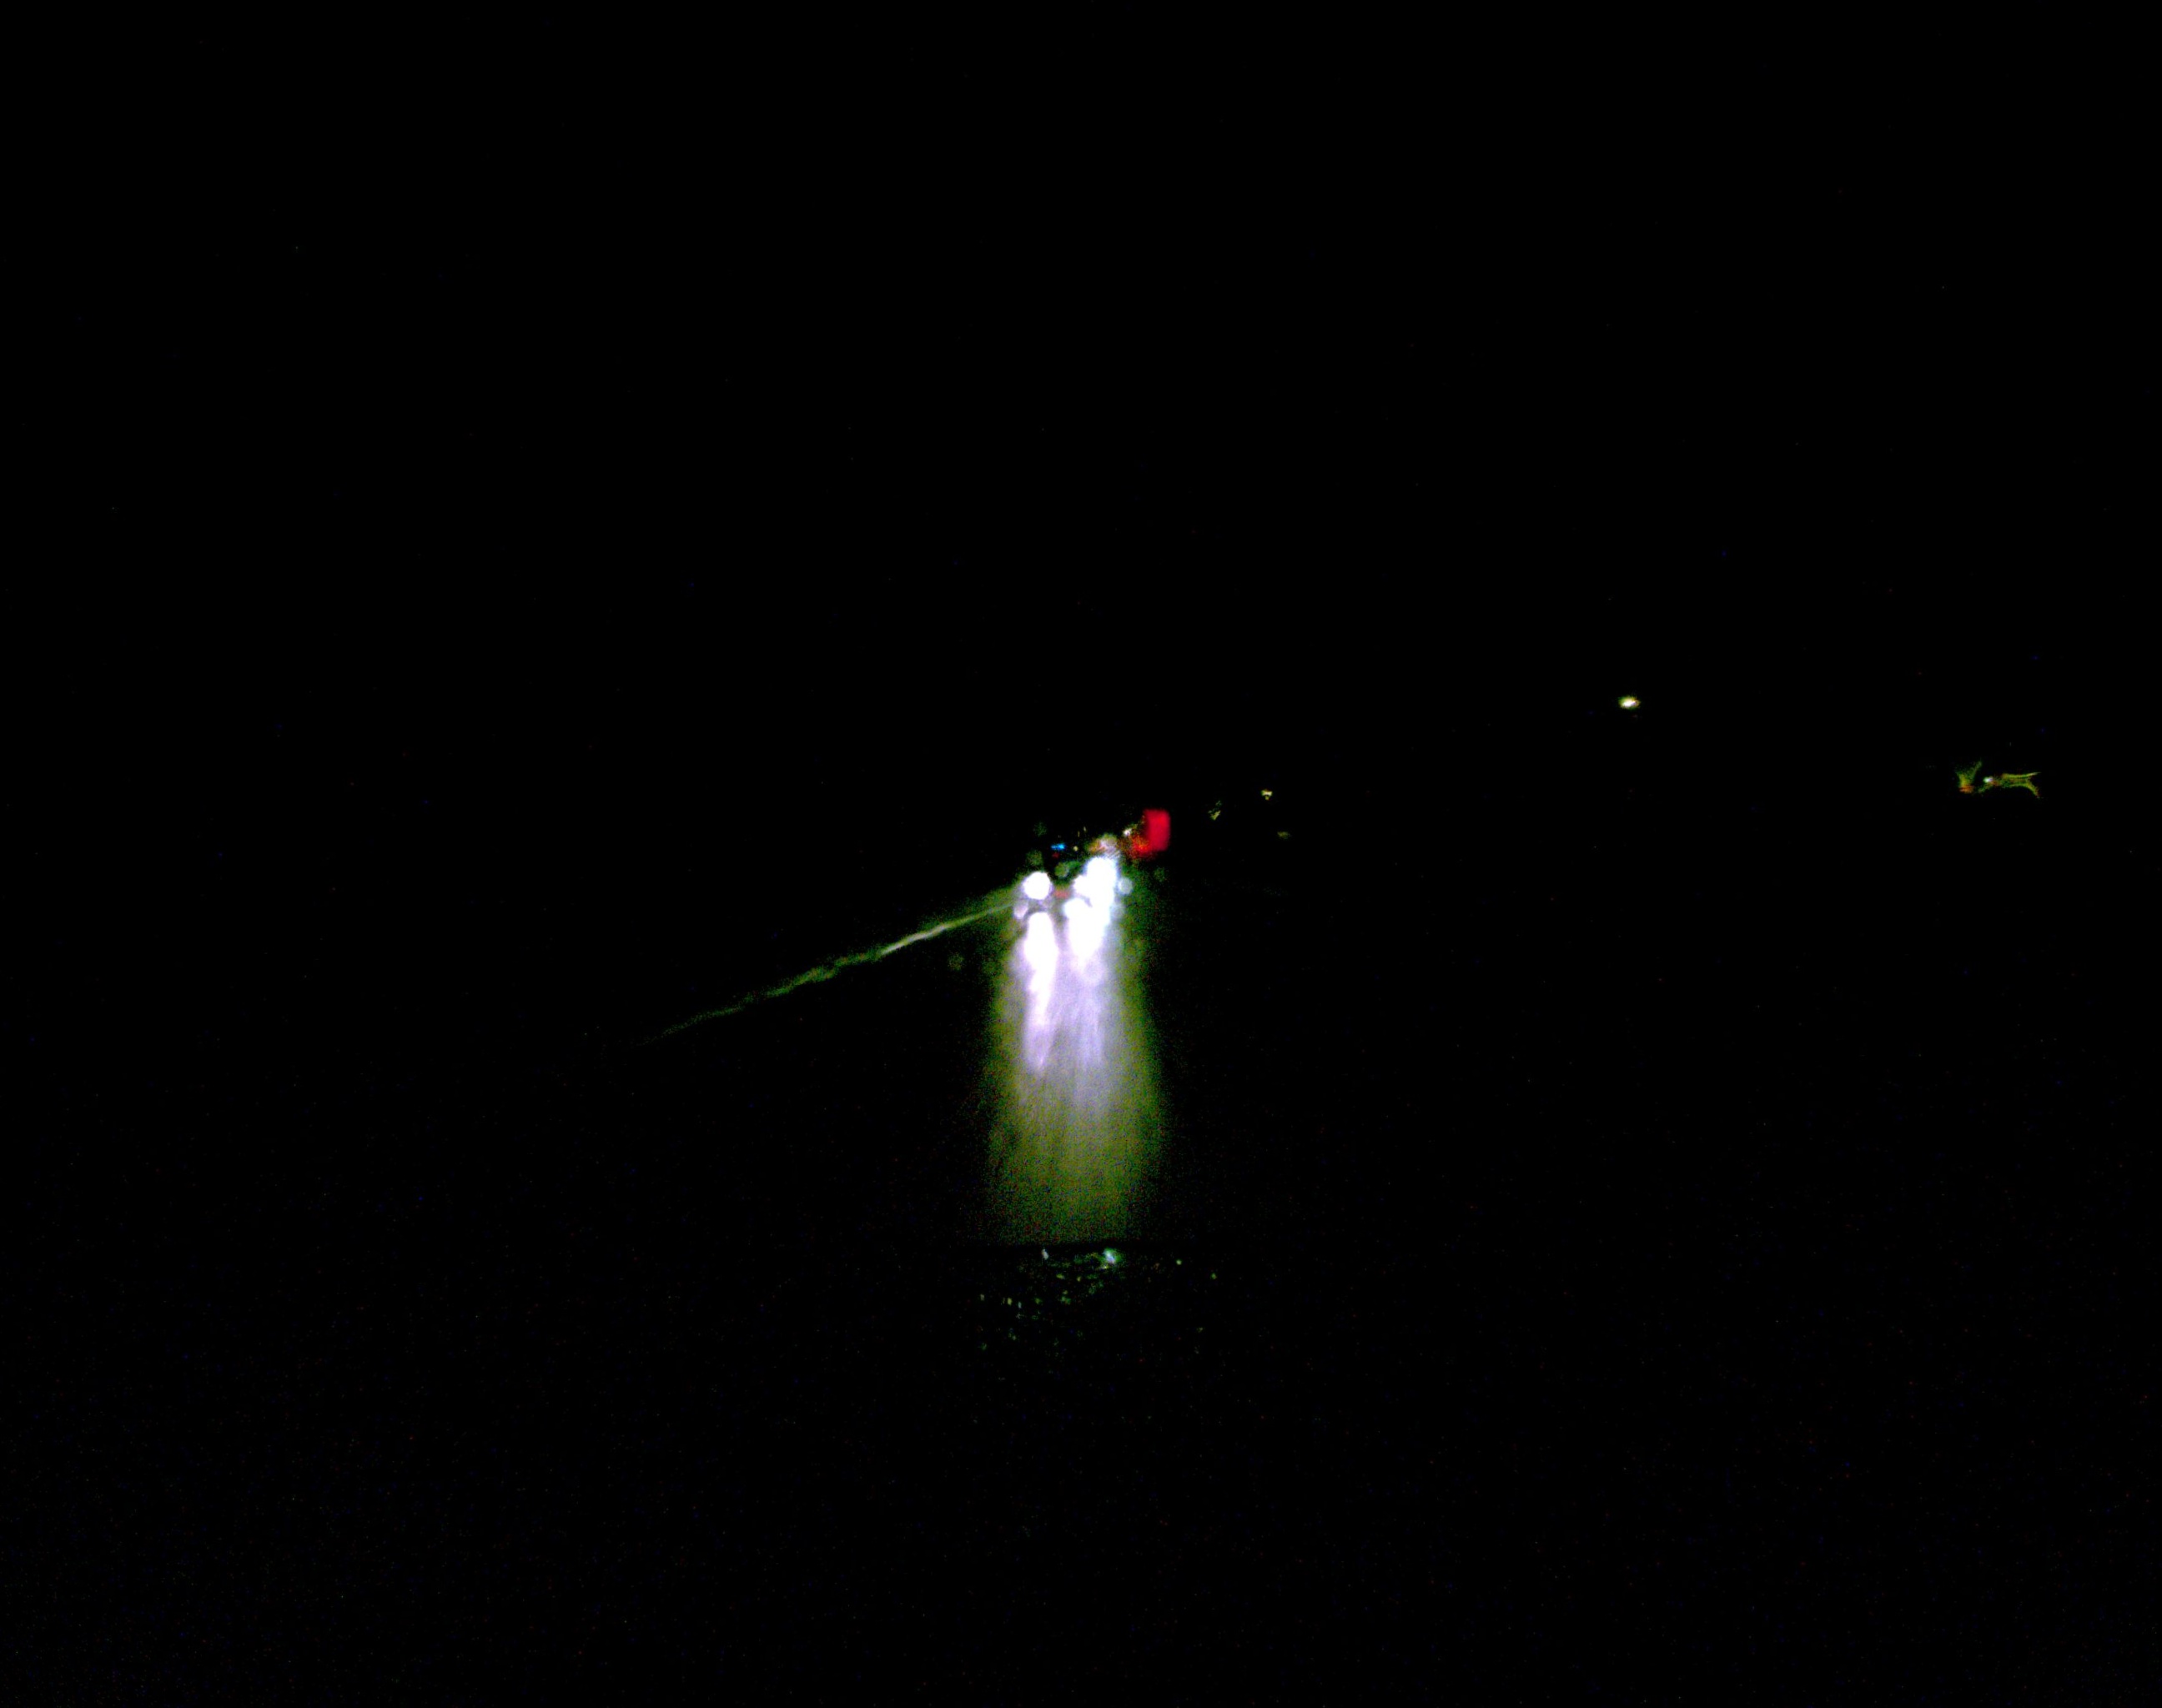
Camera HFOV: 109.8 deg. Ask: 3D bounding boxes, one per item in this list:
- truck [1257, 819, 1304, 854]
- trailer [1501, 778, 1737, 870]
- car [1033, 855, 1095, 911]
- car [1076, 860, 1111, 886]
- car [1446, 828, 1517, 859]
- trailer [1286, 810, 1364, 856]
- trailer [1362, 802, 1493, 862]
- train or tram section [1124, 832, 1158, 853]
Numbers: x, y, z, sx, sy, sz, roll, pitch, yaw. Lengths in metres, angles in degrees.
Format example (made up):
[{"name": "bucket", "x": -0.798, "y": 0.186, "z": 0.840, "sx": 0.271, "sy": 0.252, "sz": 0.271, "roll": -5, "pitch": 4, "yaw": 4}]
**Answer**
[{"name": "truck", "x": 29.522, "y": -2.568, "z": 113.241, "sx": 3.448, "sy": 4.584, "sz": 10.208, "roll": -6, "pitch": 1, "yaw": -3}, {"name": "trailer", "x": 33.007, "y": -1.713, "z": 48.114, "sx": 3.982, "sy": 4.584, "sz": 14.241, "roll": -6, "pitch": 1, "yaw": -3}, {"name": "car", "x": -0.673, "y": 0.917, "z": 25.908, "sx": 1.791, "sy": 1.684, "sz": 4.217, "roll": -2, "pitch": 0, "yaw": -5}, {"name": "car", "x": 0.793, "y": 1.286, "z": 52.075, "sx": 1.789, "sy": 1.638, "sz": 4.433, "roll": -3, "pitch": 0, "yaw": -7}, {"name": "car", "x": 24.547, "y": -0.628, "z": 46.758, "sx": 1.791, "sy": 1.684, "sz": 4.217, "roll": -4, "pitch": 0, "yaw": -4}, {"name": "trailer", "x": 30.497, "y": -2.598, "z": 96.142, "sx": 3.982, "sy": 4.984, "sz": 14.829, "roll": -6, "pitch": 1, "yaw": -3}, {"name": "trailer", "x": 31.287, "y": -1.904, "z": 70.064, "sx": 3.982, "sy": 4.583, "sz": 15.508, "roll": -6, "pitch": 1, "yaw": -3}, {"name": "train or tram section", "x": 12.900, "y": -2.554, "z": 169.588, "sx": 2.703, "sy": 3.793, "sz": 37.130, "roll": -6, "pitch": 1, "yaw": -2}]
